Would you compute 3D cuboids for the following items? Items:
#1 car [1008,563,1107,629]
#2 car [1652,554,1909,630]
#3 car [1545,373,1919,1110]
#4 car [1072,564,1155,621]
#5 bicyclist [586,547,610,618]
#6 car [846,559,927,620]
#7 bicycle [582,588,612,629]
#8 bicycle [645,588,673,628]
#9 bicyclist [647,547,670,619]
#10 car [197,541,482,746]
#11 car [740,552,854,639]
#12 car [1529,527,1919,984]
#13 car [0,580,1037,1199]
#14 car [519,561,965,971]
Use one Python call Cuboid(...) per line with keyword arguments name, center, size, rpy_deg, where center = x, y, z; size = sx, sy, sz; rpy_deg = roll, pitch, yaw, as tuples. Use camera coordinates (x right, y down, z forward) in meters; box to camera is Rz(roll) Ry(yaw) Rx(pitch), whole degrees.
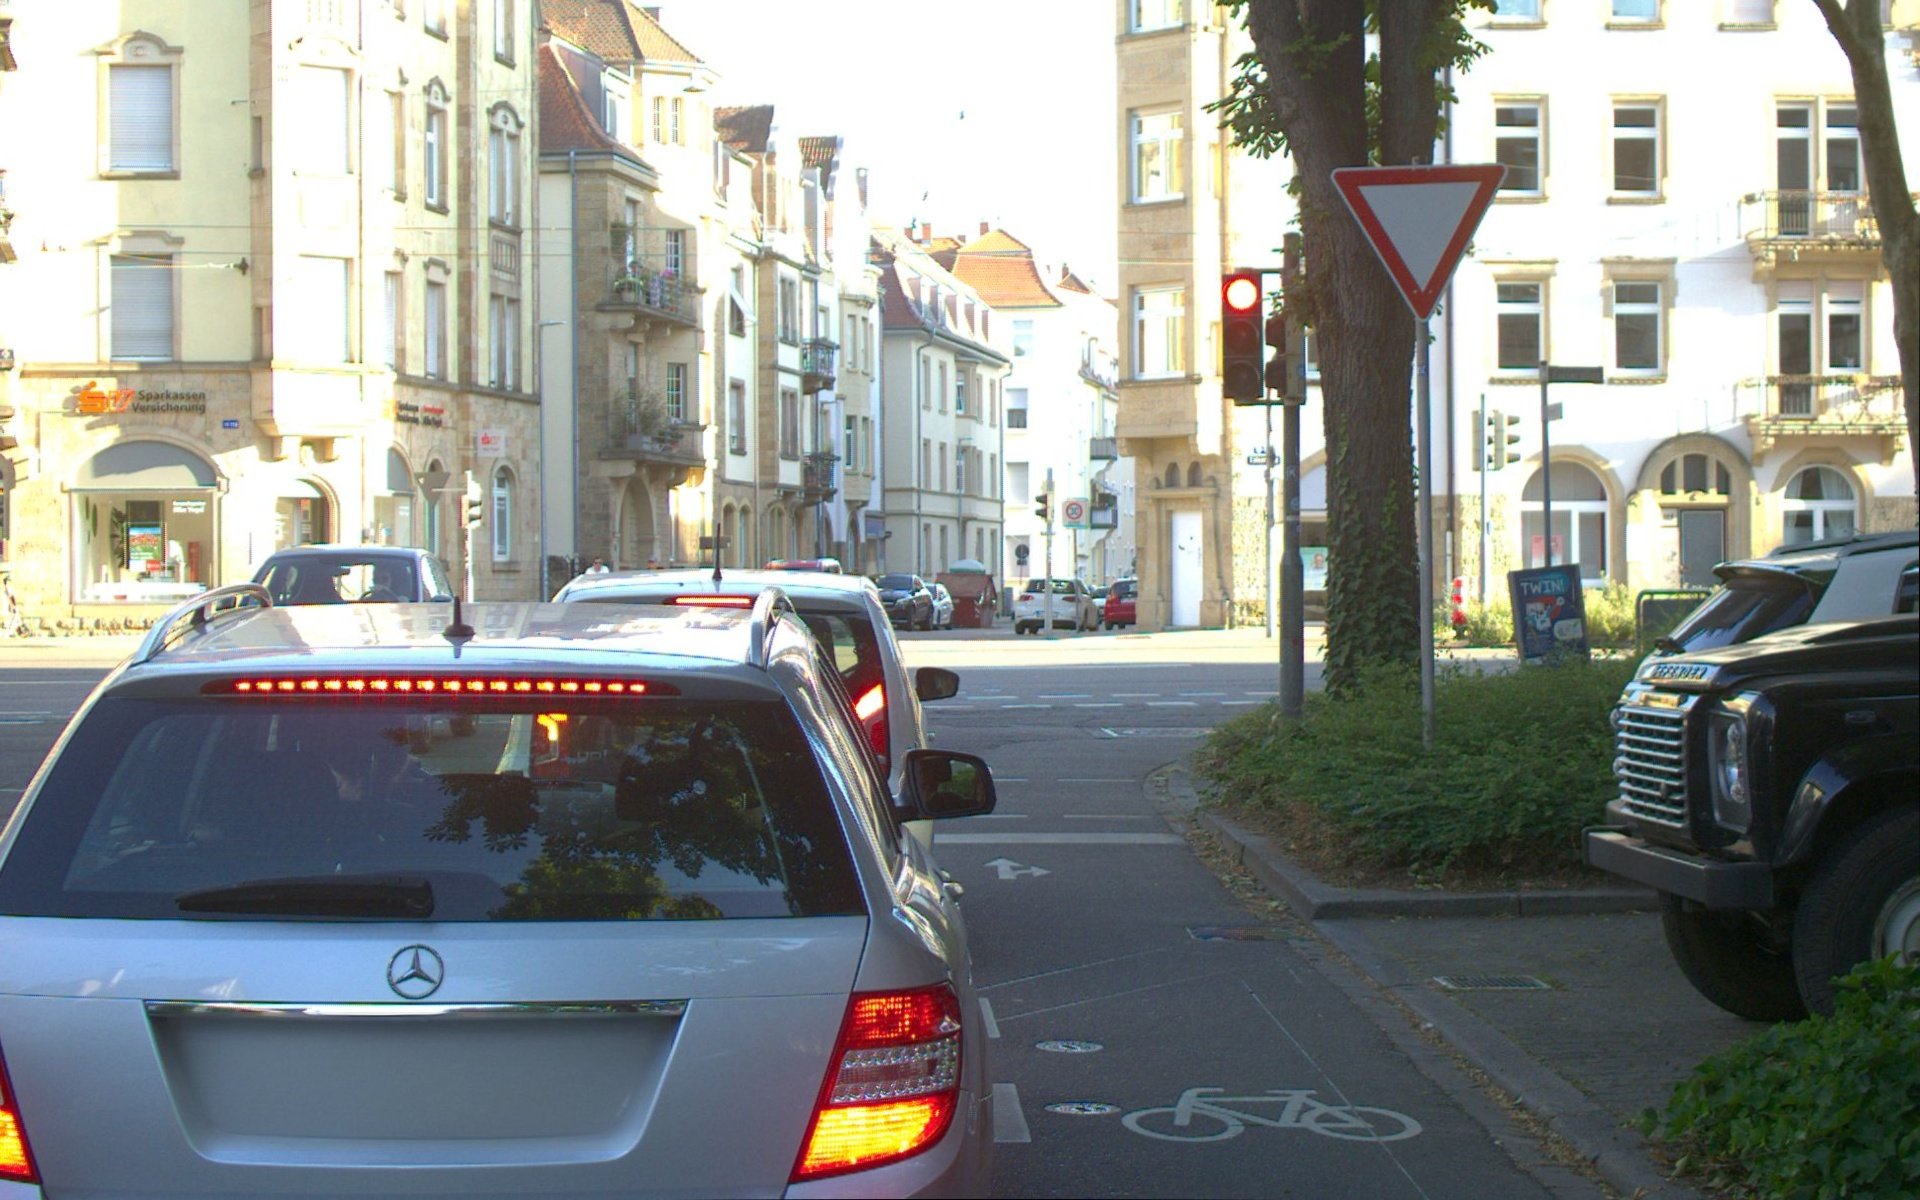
Cuboid(name="car", center=(2.465, -0.117, 85.853), size=(1.722, 1.473, 3.998), rpy_deg=(-2, 1, 12))
Cuboid(name="car", center=(11.799, -0.123, 49.544), size=(3.364, 1.065, 1.380), rpy_deg=(0, 1, -1))
Cuboid(name="car", center=(4.188, 0.290, 10.179), size=(4.490, 1.949, 1.793), rpy_deg=(-2, 1, -3))
Cuboid(name="car", center=(4.571, -0.224, 102.073), size=(1.722, 1.473, 3.998), rpy_deg=(-4, 1, 12))
Cuboid(name="bicyclist", center=(-7.718, -0.374, 73.321), size=(0.466, 1.509, 0.655), rpy_deg=(0, 1, -4))
Cuboid(name="car", center=(-2.166, -0.299, 102.431), size=(1.651, 1.777, 3.861), rpy_deg=(0, 0, 11))
Cuboid(name="bicycle", center=(-7.736, 0.176, 73.299), size=(0.568, 0.832, 1.566), rpy_deg=(0, 1, -4))
Cuboid(name="bicycle", center=(-6.411, 0.167, 73.311), size=(0.568, 0.832, 1.566), rpy_deg=(0, 1, -4))
Cuboid(name="bicyclist", center=(-6.434, -0.372, 73.314), size=(0.466, 1.516, 0.694), rpy_deg=(0, 1, -4))
Cuboid(name="car", center=(-4.831, 0.292, 27.186), size=(1.615, 1.496, 3.592), rpy_deg=(0, 1, 0))
Cuboid(name="car", center=(-3.761, -0.123, 79.985), size=(1.938, 1.952, 4.149), rpy_deg=(0, 1, 8))
Cuboid(name="car", center=(4.126, 0.502, 13.128), size=(3.480, 1.580, 1.711), rpy_deg=(-2, 1, -6))
Cuboid(name="car", center=(-0.845, 0.706, 6.466), size=(1.690, 1.424, 3.493), rpy_deg=(1, 1, -3))
Cuboid(name="car", center=(-0.819, 0.554, 13.675), size=(1.533, 1.386, 3.600), rpy_deg=(0, 1, -2))
